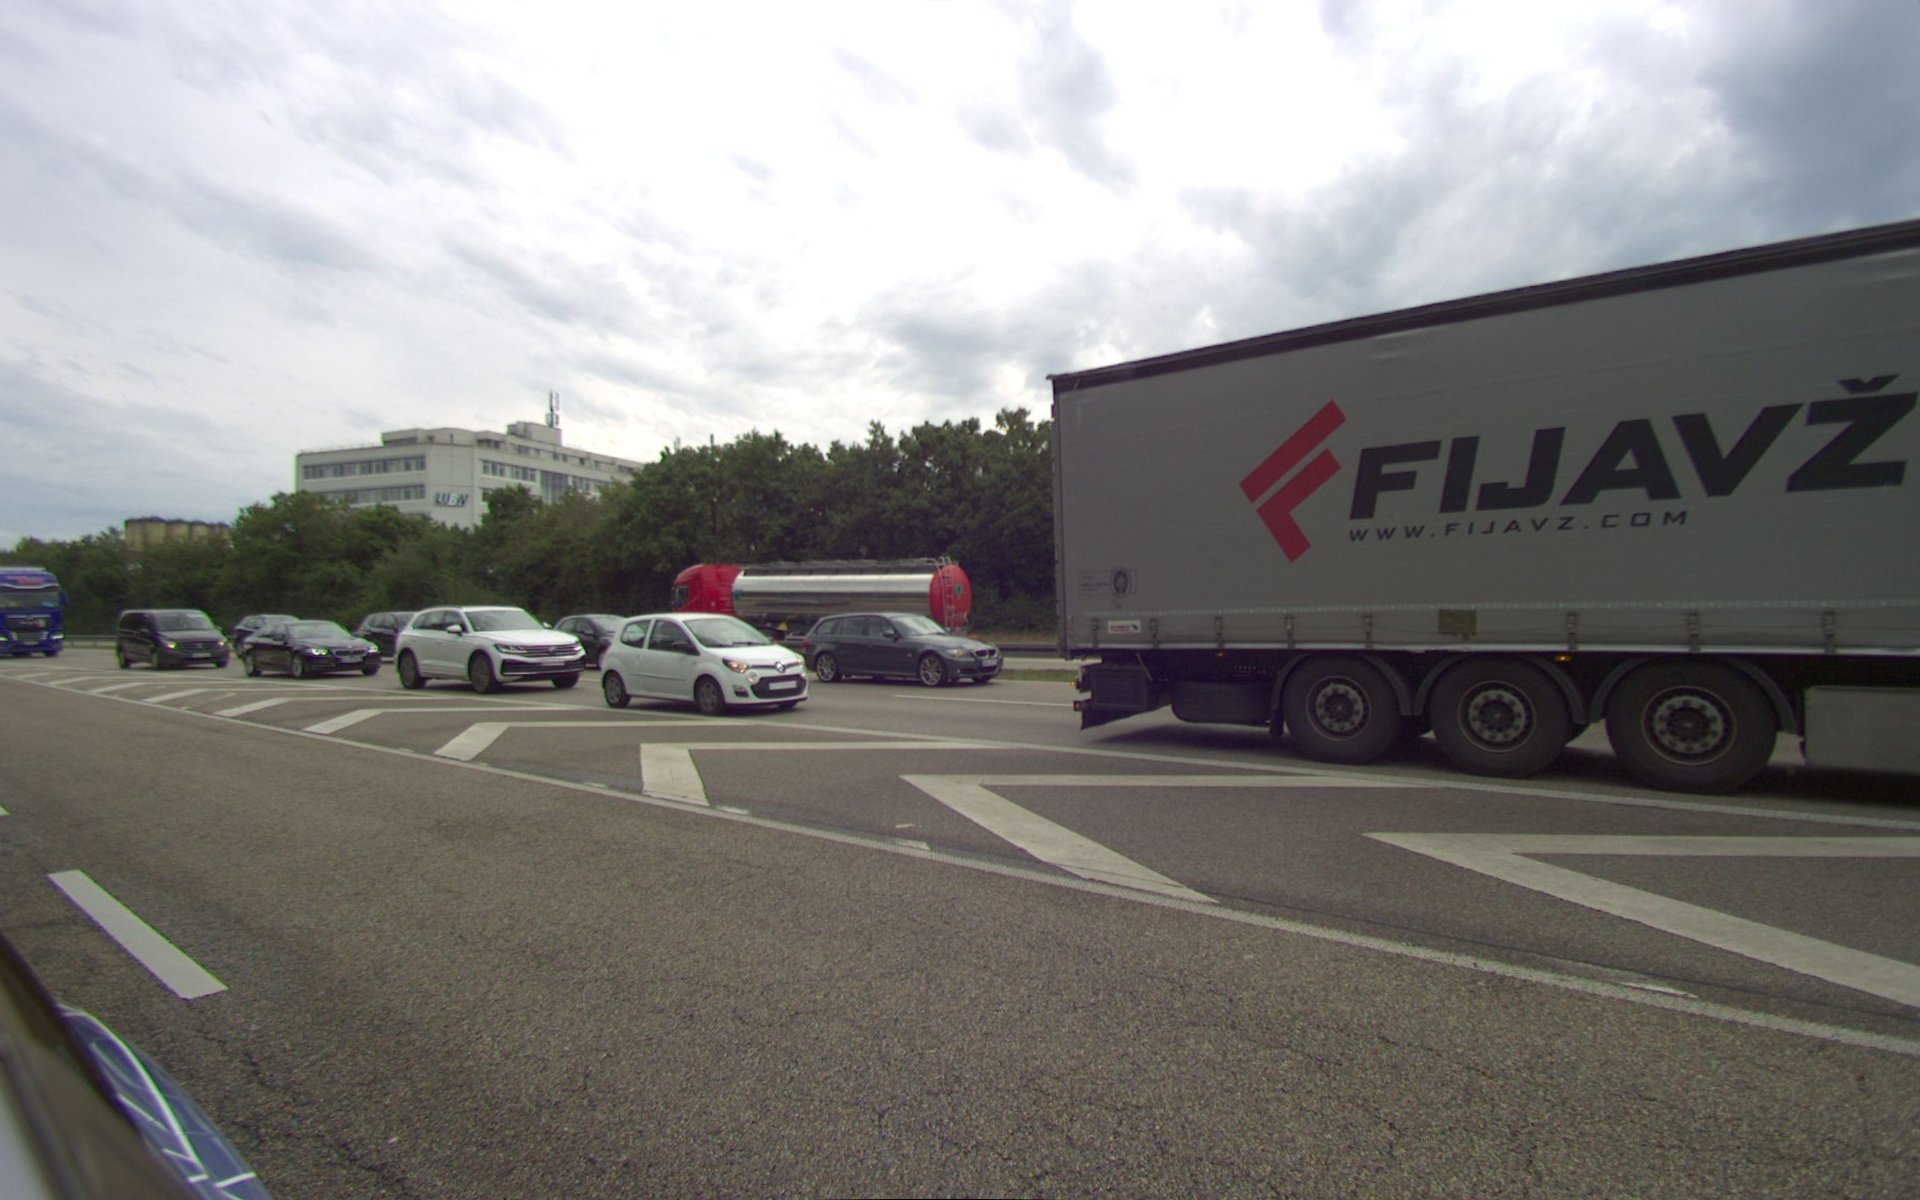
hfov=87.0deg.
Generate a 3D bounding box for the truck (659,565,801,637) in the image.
[{"bbox_3d":[-9.116,0.073,39.828,5.679,2.641,2.304,-1,0,36],"label":"truck"}]

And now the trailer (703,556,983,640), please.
[{"bbox_3d":[-4.546,-0.013,36.490,11.352,2.691,2.449,-1,0,36],"label":"trailer"}]

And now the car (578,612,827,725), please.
[{"bbox_3d":[-3.989,0.969,15.362,4.031,1.502,1.562,-2,-2,38],"label":"car"}]

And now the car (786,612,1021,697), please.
[{"bbox_3d":[-1.206,0.992,19.944,4.694,1.459,1.697,-1,0,38],"label":"car"}]

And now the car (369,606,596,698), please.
[{"bbox_3d":[-9.850,1.007,20.680,5.369,1.673,1.893,-2,-1,36],"label":"car"}]

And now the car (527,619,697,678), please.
[{"bbox_3d":[-9.388,1.266,27.171,4.799,1.425,1.975,-2,-1,37],"label":"car"}]

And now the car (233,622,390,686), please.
[{"bbox_3d":[-16.996,1.337,26.438,4.821,1.471,1.831,-1,0,36],"label":"car"}]

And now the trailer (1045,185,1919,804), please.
[{"bbox_3d":[7.052,-0.706,8.154,13.081,4.066,3.267,-1,0,39],"label":"trailer"}]

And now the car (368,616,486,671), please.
[{"bbox_3d":[-16.930,1.360,32.098,3.990,1.624,1.631,-2,-2,34],"label":"car"}]

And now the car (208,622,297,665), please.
[{"bbox_3d":[-27.924,1.701,39.932,3.992,1.586,1.671,-2,-1,36],"label":"car"}]

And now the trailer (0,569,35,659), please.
[{"bbox_3d":[-49.072,0.698,49.068,13.416,4.053,2.607,-1,0,32],"label":"trailer"}]

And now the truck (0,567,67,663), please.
[{"bbox_3d":[-42.951,0.663,45.268,6.563,4.073,2.543,-1,0,30],"label":"truck"}]

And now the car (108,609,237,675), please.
[{"bbox_3d":[-25.347,1.341,32.506,5.070,1.920,1.975,-2,0,37],"label":"car"}]
